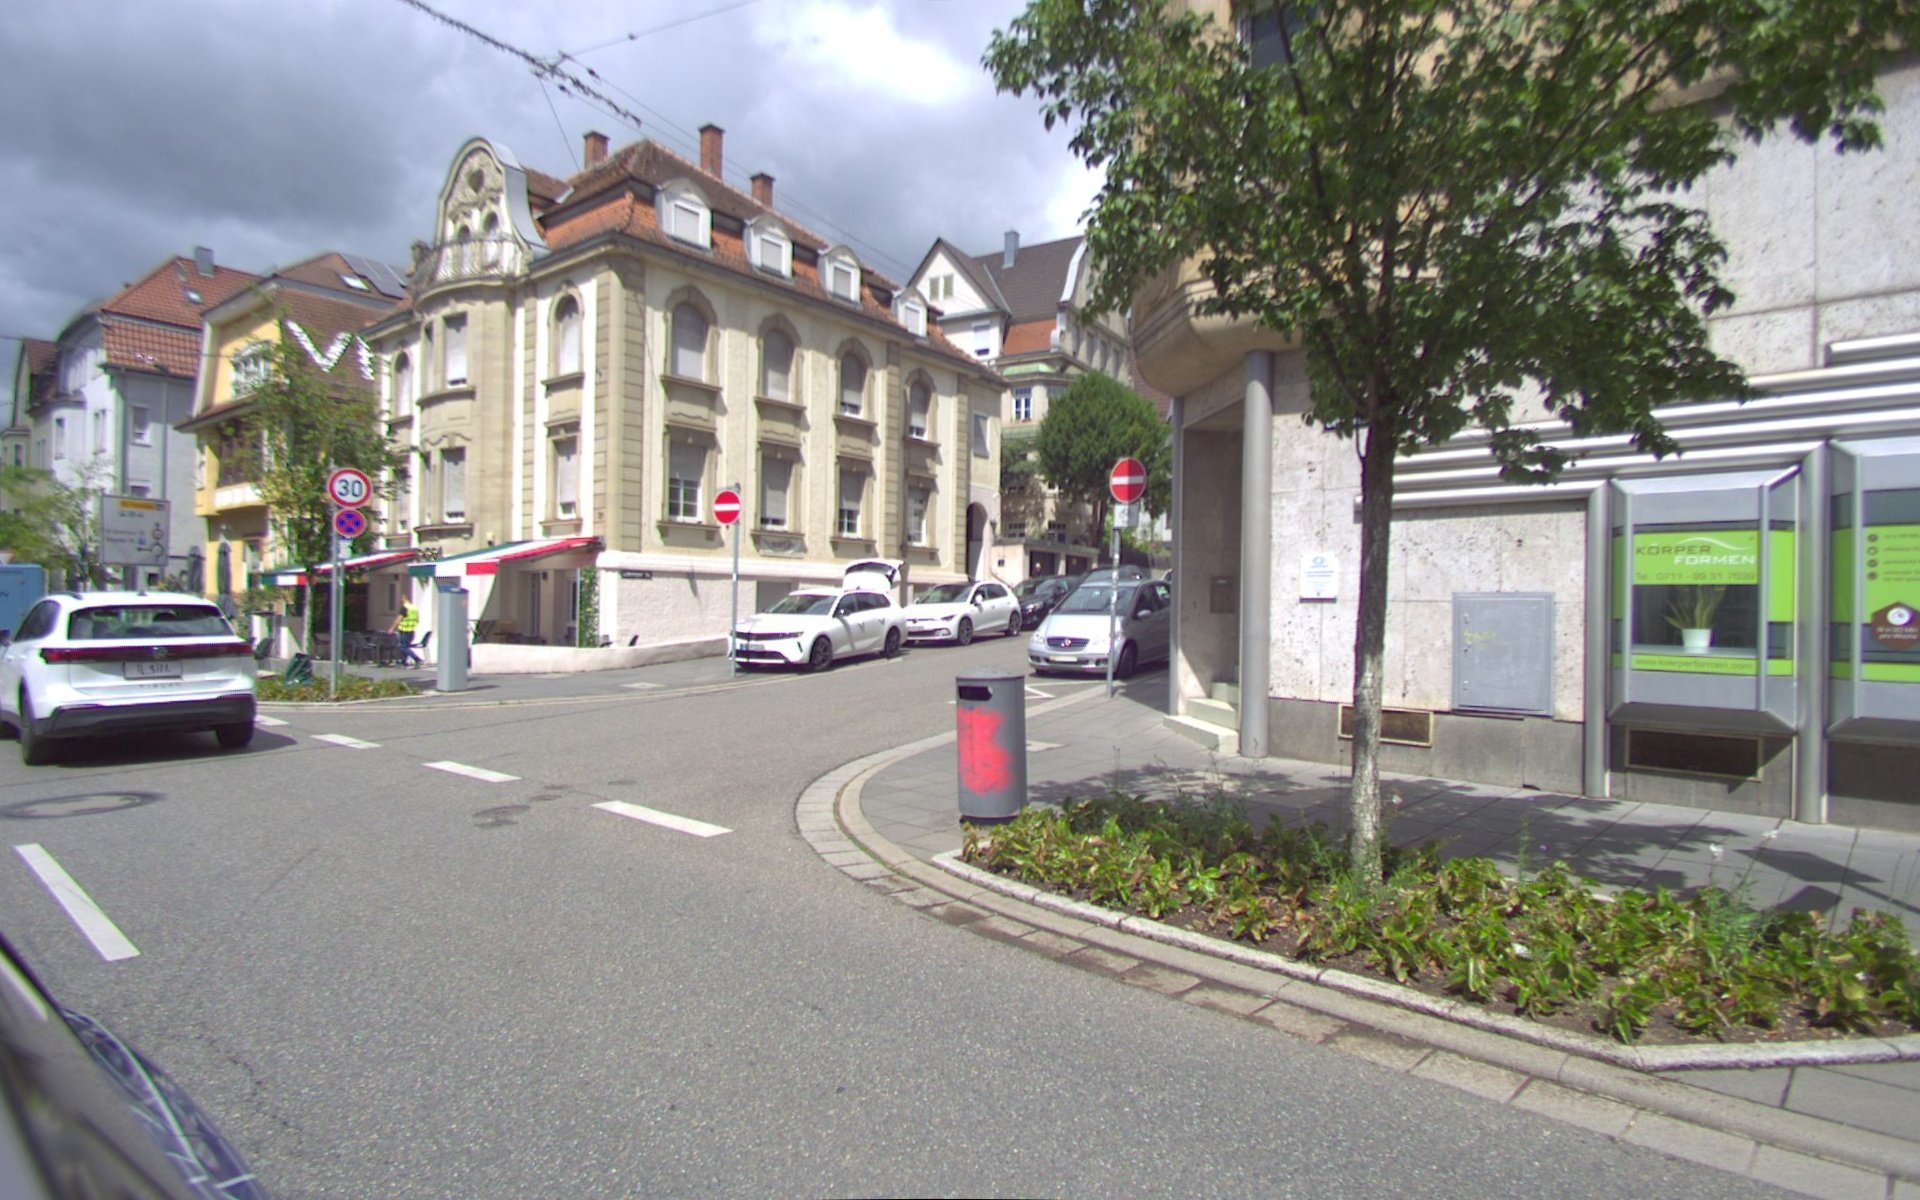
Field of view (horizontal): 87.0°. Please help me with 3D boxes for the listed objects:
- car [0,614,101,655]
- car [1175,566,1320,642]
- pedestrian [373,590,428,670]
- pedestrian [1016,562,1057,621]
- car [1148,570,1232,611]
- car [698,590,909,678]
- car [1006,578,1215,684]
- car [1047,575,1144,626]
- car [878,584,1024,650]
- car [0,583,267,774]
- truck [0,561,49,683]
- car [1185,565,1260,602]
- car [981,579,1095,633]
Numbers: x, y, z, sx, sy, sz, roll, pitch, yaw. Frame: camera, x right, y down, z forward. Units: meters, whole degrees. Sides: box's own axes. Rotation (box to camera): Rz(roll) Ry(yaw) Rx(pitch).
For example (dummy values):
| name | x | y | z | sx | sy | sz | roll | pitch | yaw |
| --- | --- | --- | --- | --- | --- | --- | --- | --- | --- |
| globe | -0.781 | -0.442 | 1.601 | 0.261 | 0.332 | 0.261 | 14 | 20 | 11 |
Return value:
| name | x | y | z | sx | sy | sz | roll | pitch | yaw |
| --- | --- | --- | --- | --- | --- | --- | --- | --- | --- |
| car | -30.604 | 1.152 | 33.946 | 4.456 | 1.314 | 1.702 | -2 | -2 | 35 |
| car | 6.728 | 0.019 | 23.376 | 1.995 | 1.573 | 4.169 | 0 | 2 | 35 |
| pedestrian | -12.690 | 0.662 | 22.966 | 0.810 | 1.769 | 0.792 | 0 | 1 | 32 |
| pedestrian | 2.666 | -0.297 | 35.317 | 0.958 | 2.029 | 1.040 | -1 | 1 | -42 |
| car | 9.379 | -0.413 | 41.118 | 1.828 | 1.564 | 4.182 | 0 | 2 | 36 |
| car | -2.857 | 0.566 | 19.530 | 1.988 | 1.391 | 4.353 | 0 | 2 | 24 |
| car | 2.764 | 0.442 | 17.777 | 1.995 | 1.573 | 4.169 | 0 | 2 | 35 |
| car | 4.505 | -0.021 | 33.241 | 1.848 | 1.555 | 3.961 | -1 | 1 | 29 |
| car | -0.111 | 0.341 | 24.439 | 1.822 | 1.391 | 4.195 | 0 | 2 | 27 |
| car | -9.013 | 0.660 | 10.795 | 4.115 | 1.652 | 1.768 | 0 | 1 | 42 |
| truck | -20.918 | 0.422 | 21.166 | 6.474 | 2.322 | 2.084 | 0 | 1 | 42 |
| car | 11.700 | -0.759 | 44.985 | 1.828 | 1.564 | 4.182 | 0 | 2 | 36 |
| car | 2.331 | 0.120 | 29.039 | 1.822 | 1.391 | 4.195 | 0 | 2 | 27 |
